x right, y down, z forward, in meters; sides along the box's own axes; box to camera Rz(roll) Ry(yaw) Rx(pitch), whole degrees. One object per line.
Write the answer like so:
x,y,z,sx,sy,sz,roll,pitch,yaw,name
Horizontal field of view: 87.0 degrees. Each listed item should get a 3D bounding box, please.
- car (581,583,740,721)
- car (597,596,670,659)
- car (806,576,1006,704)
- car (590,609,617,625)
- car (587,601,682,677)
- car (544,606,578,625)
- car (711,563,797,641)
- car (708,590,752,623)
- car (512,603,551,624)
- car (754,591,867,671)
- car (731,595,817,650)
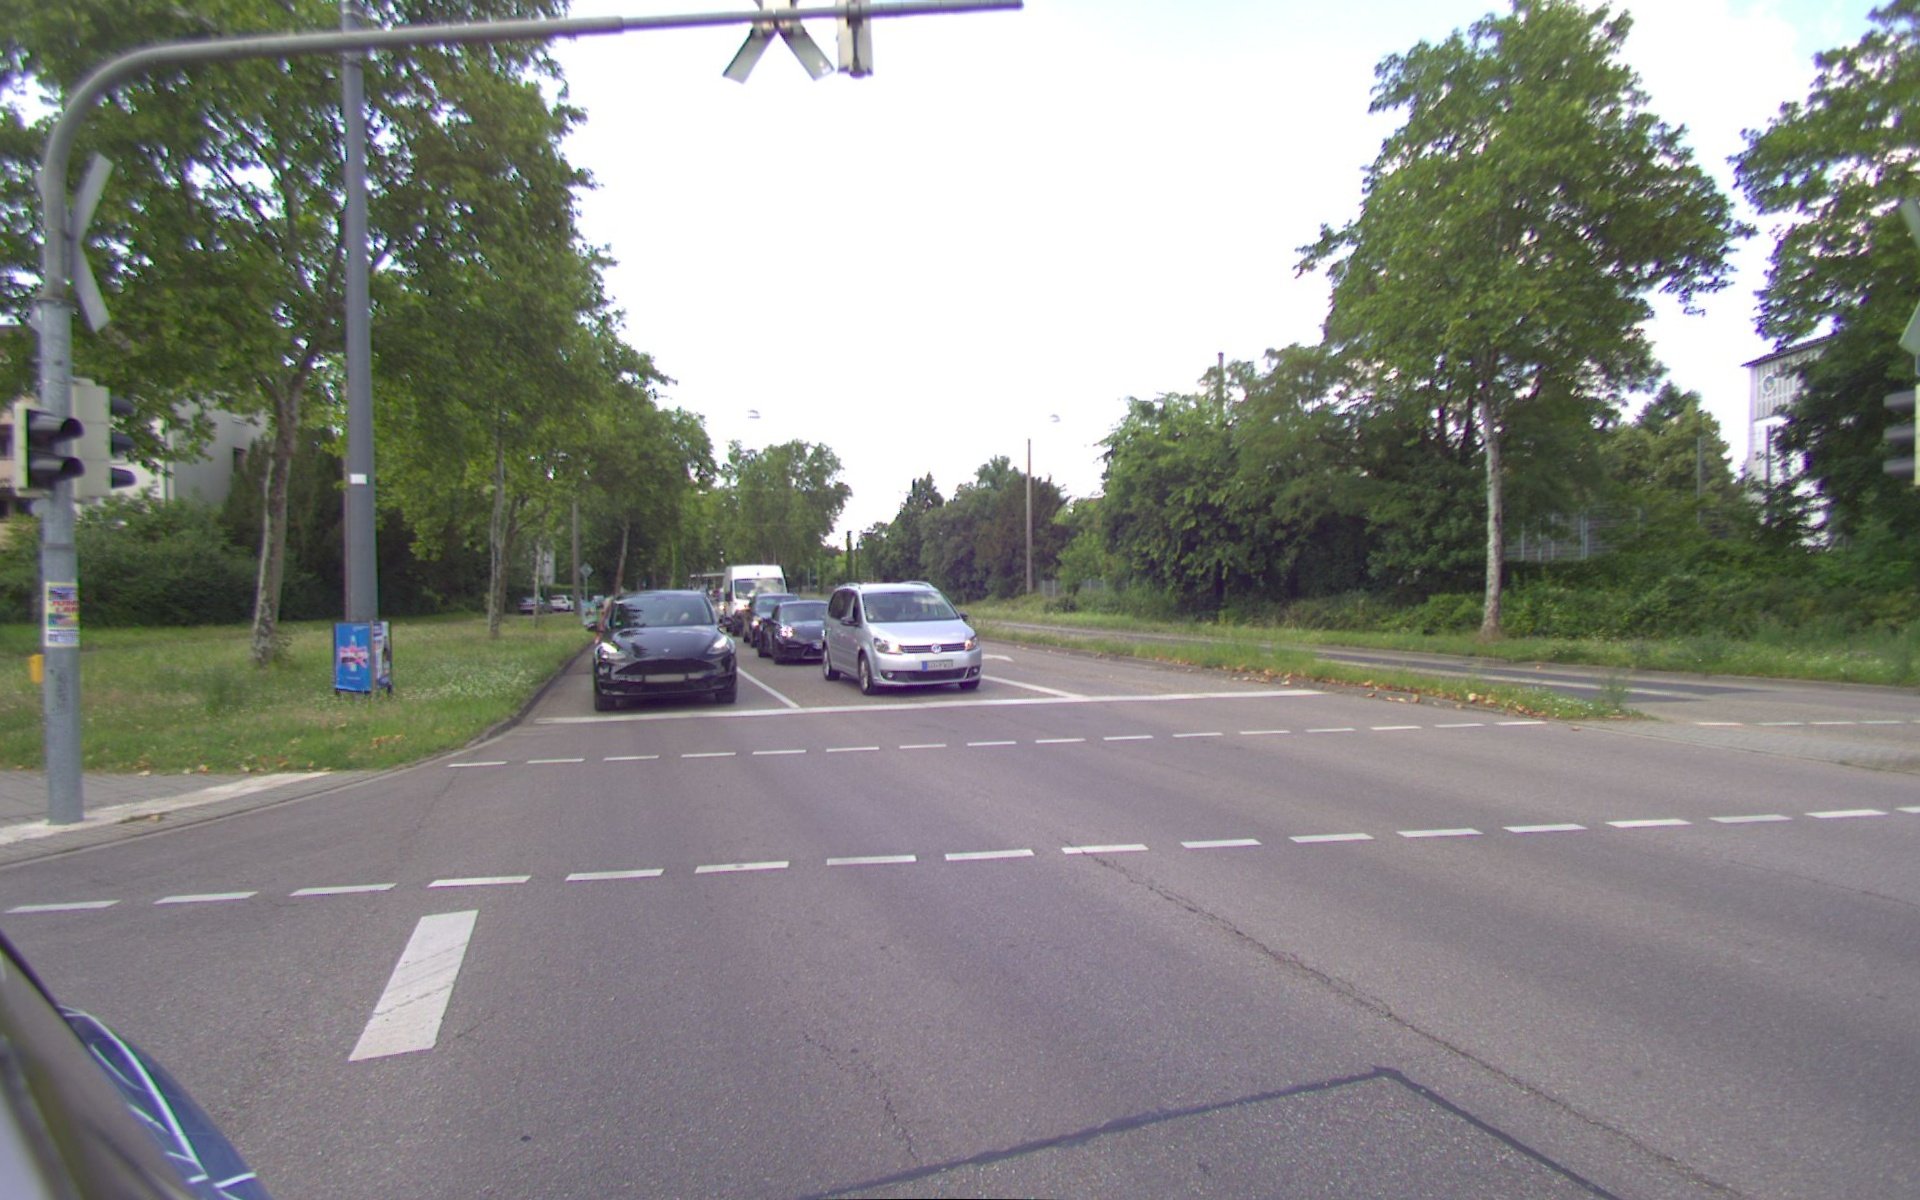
-4.520,0.634,15.174,1.899,1.664,4.594,-3,1,-18,car
-9.358,0.717,28.860,1.771,1.581,4.516,-3,1,-19,car
-1.031,0.521,16.070,1.898,1.664,4.516,-3,1,-19,car
-37.052,1.789,105.177,1.750,1.608,3.659,-1,-2,-3,car
-7.273,0.784,22.452,1.771,1.401,4.516,-3,1,-19,car
-35.441,1.352,89.885,1.750,1.608,3.659,-1,-2,-3,car
-7.673,0.052,37.213,2.189,2.549,5.952,-3,1,-19,car
-12.040,0.309,52.887,1.734,1.659,4.357,-1,0,-19,car
-34.161,1.087,80.852,1.750,1.608,3.659,-1,-2,-3,car
-3.387,0.606,22.292,1.774,1.519,4.012,-3,1,-18,car
-5.492,0.594,29.413,1.734,1.385,4.357,-3,1,-19,car
